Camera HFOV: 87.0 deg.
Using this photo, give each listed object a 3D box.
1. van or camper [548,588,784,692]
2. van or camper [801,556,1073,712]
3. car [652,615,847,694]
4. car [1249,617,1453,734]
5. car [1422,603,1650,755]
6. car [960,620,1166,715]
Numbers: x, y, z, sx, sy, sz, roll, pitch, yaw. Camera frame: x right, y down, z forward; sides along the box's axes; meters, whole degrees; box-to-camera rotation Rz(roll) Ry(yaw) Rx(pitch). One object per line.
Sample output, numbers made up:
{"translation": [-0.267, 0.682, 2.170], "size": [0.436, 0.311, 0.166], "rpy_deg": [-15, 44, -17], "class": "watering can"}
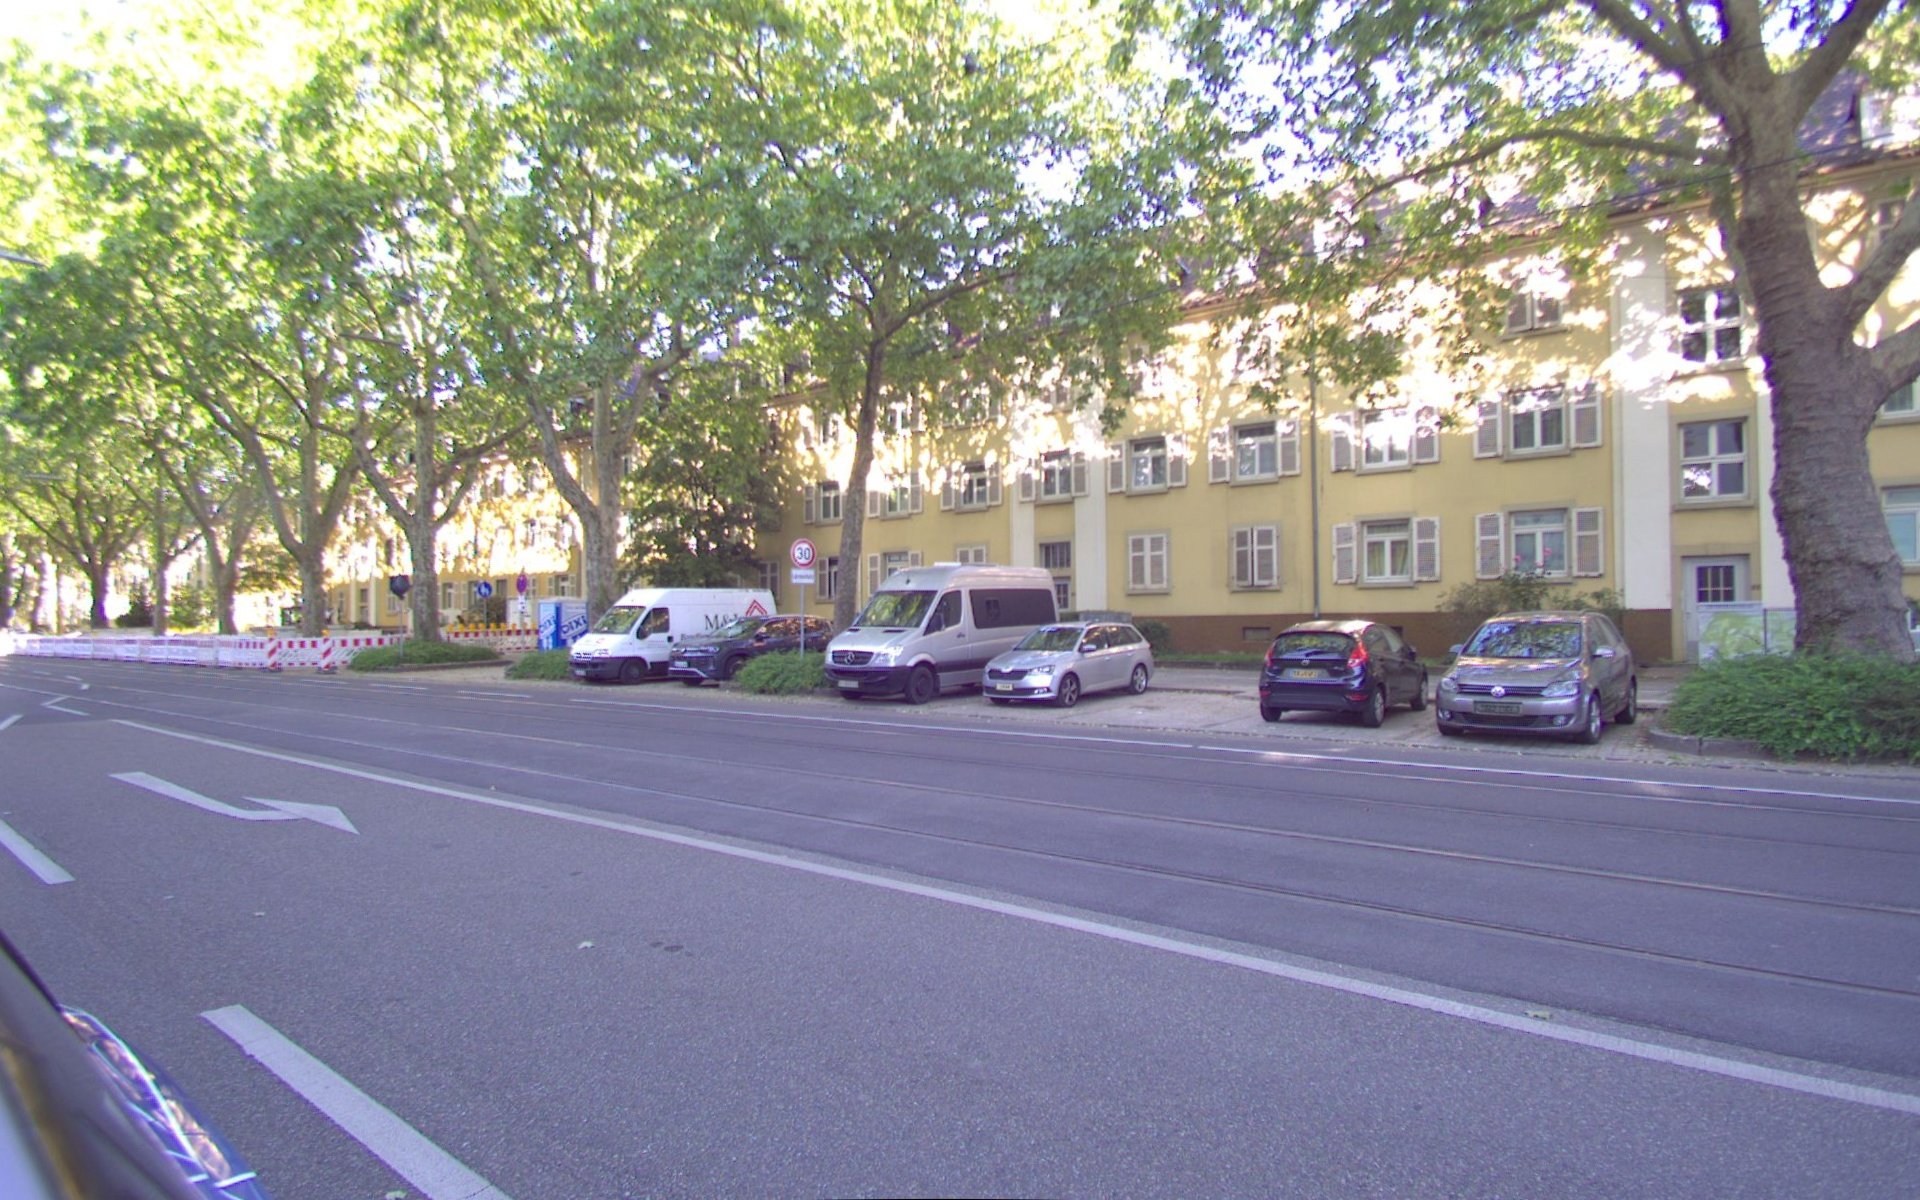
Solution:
{"translation": [-7.476, 0.920, 26.335], "size": [2.154, 2.403, 5.690], "rpy_deg": [-1, 0, 40], "class": "van or camper"}
{"translation": [-0.256, 0.567, 20.327], "size": [2.154, 2.668, 5.857], "rpy_deg": [-1, 0, 40], "class": "van or camper"}
{"translation": [-4.960, 1.223, 24.323], "size": [1.693, 1.645, 4.481], "rpy_deg": [-1, 0, 41], "class": "car"}
{"translation": [6.027, 1.031, 15.370], "size": [1.693, 1.457, 3.811], "rpy_deg": [-1, 0, 41], "class": "car"}
{"translation": [7.682, 0.883, 13.311], "size": [1.844, 1.631, 4.028], "rpy_deg": [-1, 0, 41], "class": "car"}
{"translation": [2.014, 1.143, 18.769], "size": [1.693, 1.457, 4.221], "rpy_deg": [-1, 0, 41], "class": "car"}
